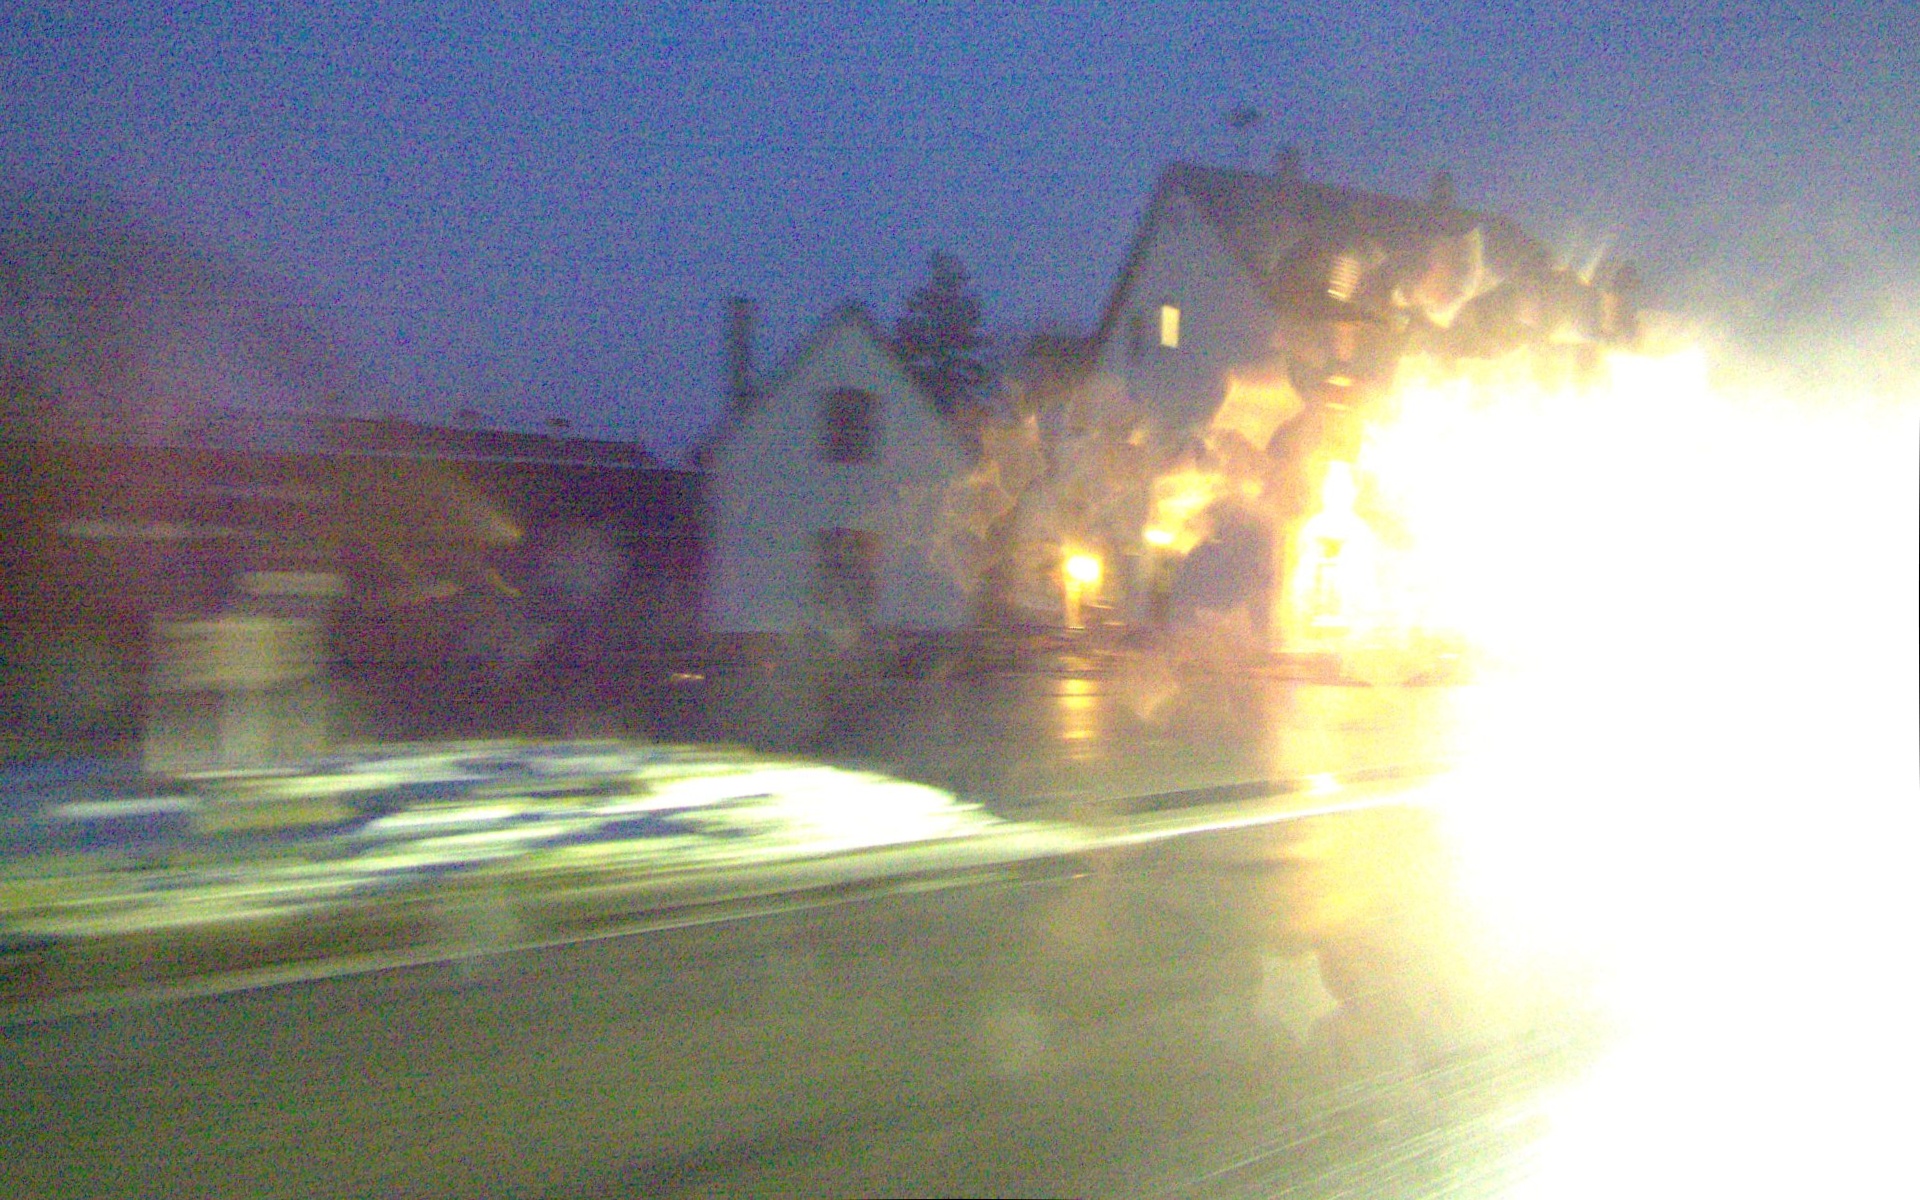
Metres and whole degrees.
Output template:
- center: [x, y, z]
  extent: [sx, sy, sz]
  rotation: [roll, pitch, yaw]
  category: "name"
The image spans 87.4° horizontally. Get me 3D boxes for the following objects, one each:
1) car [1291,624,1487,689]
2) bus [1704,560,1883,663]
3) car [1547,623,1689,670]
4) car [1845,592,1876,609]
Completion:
- center: [9.922, 1.280, 23.280]
  extent: [4.085, 1.416, 1.687]
  rotation: [1, -2, -18]
  category: "car"
- center: [36.432, 0.401, 44.599]
  extent: [2.848, 3.920, 13.046]
  rotation: [2, 1, 25]
  category: "bus"
- center: [23.004, 1.619, 35.096]
  extent: [4.669, 1.394, 1.839]
  rotation: [3, 1, -23]
  category: "car"
- center: [84.567, 0.050, 94.390]
  extent: [1.613, 1.530, 4.105]
  rotation: [-1, -1, 34]
  category: "car"
